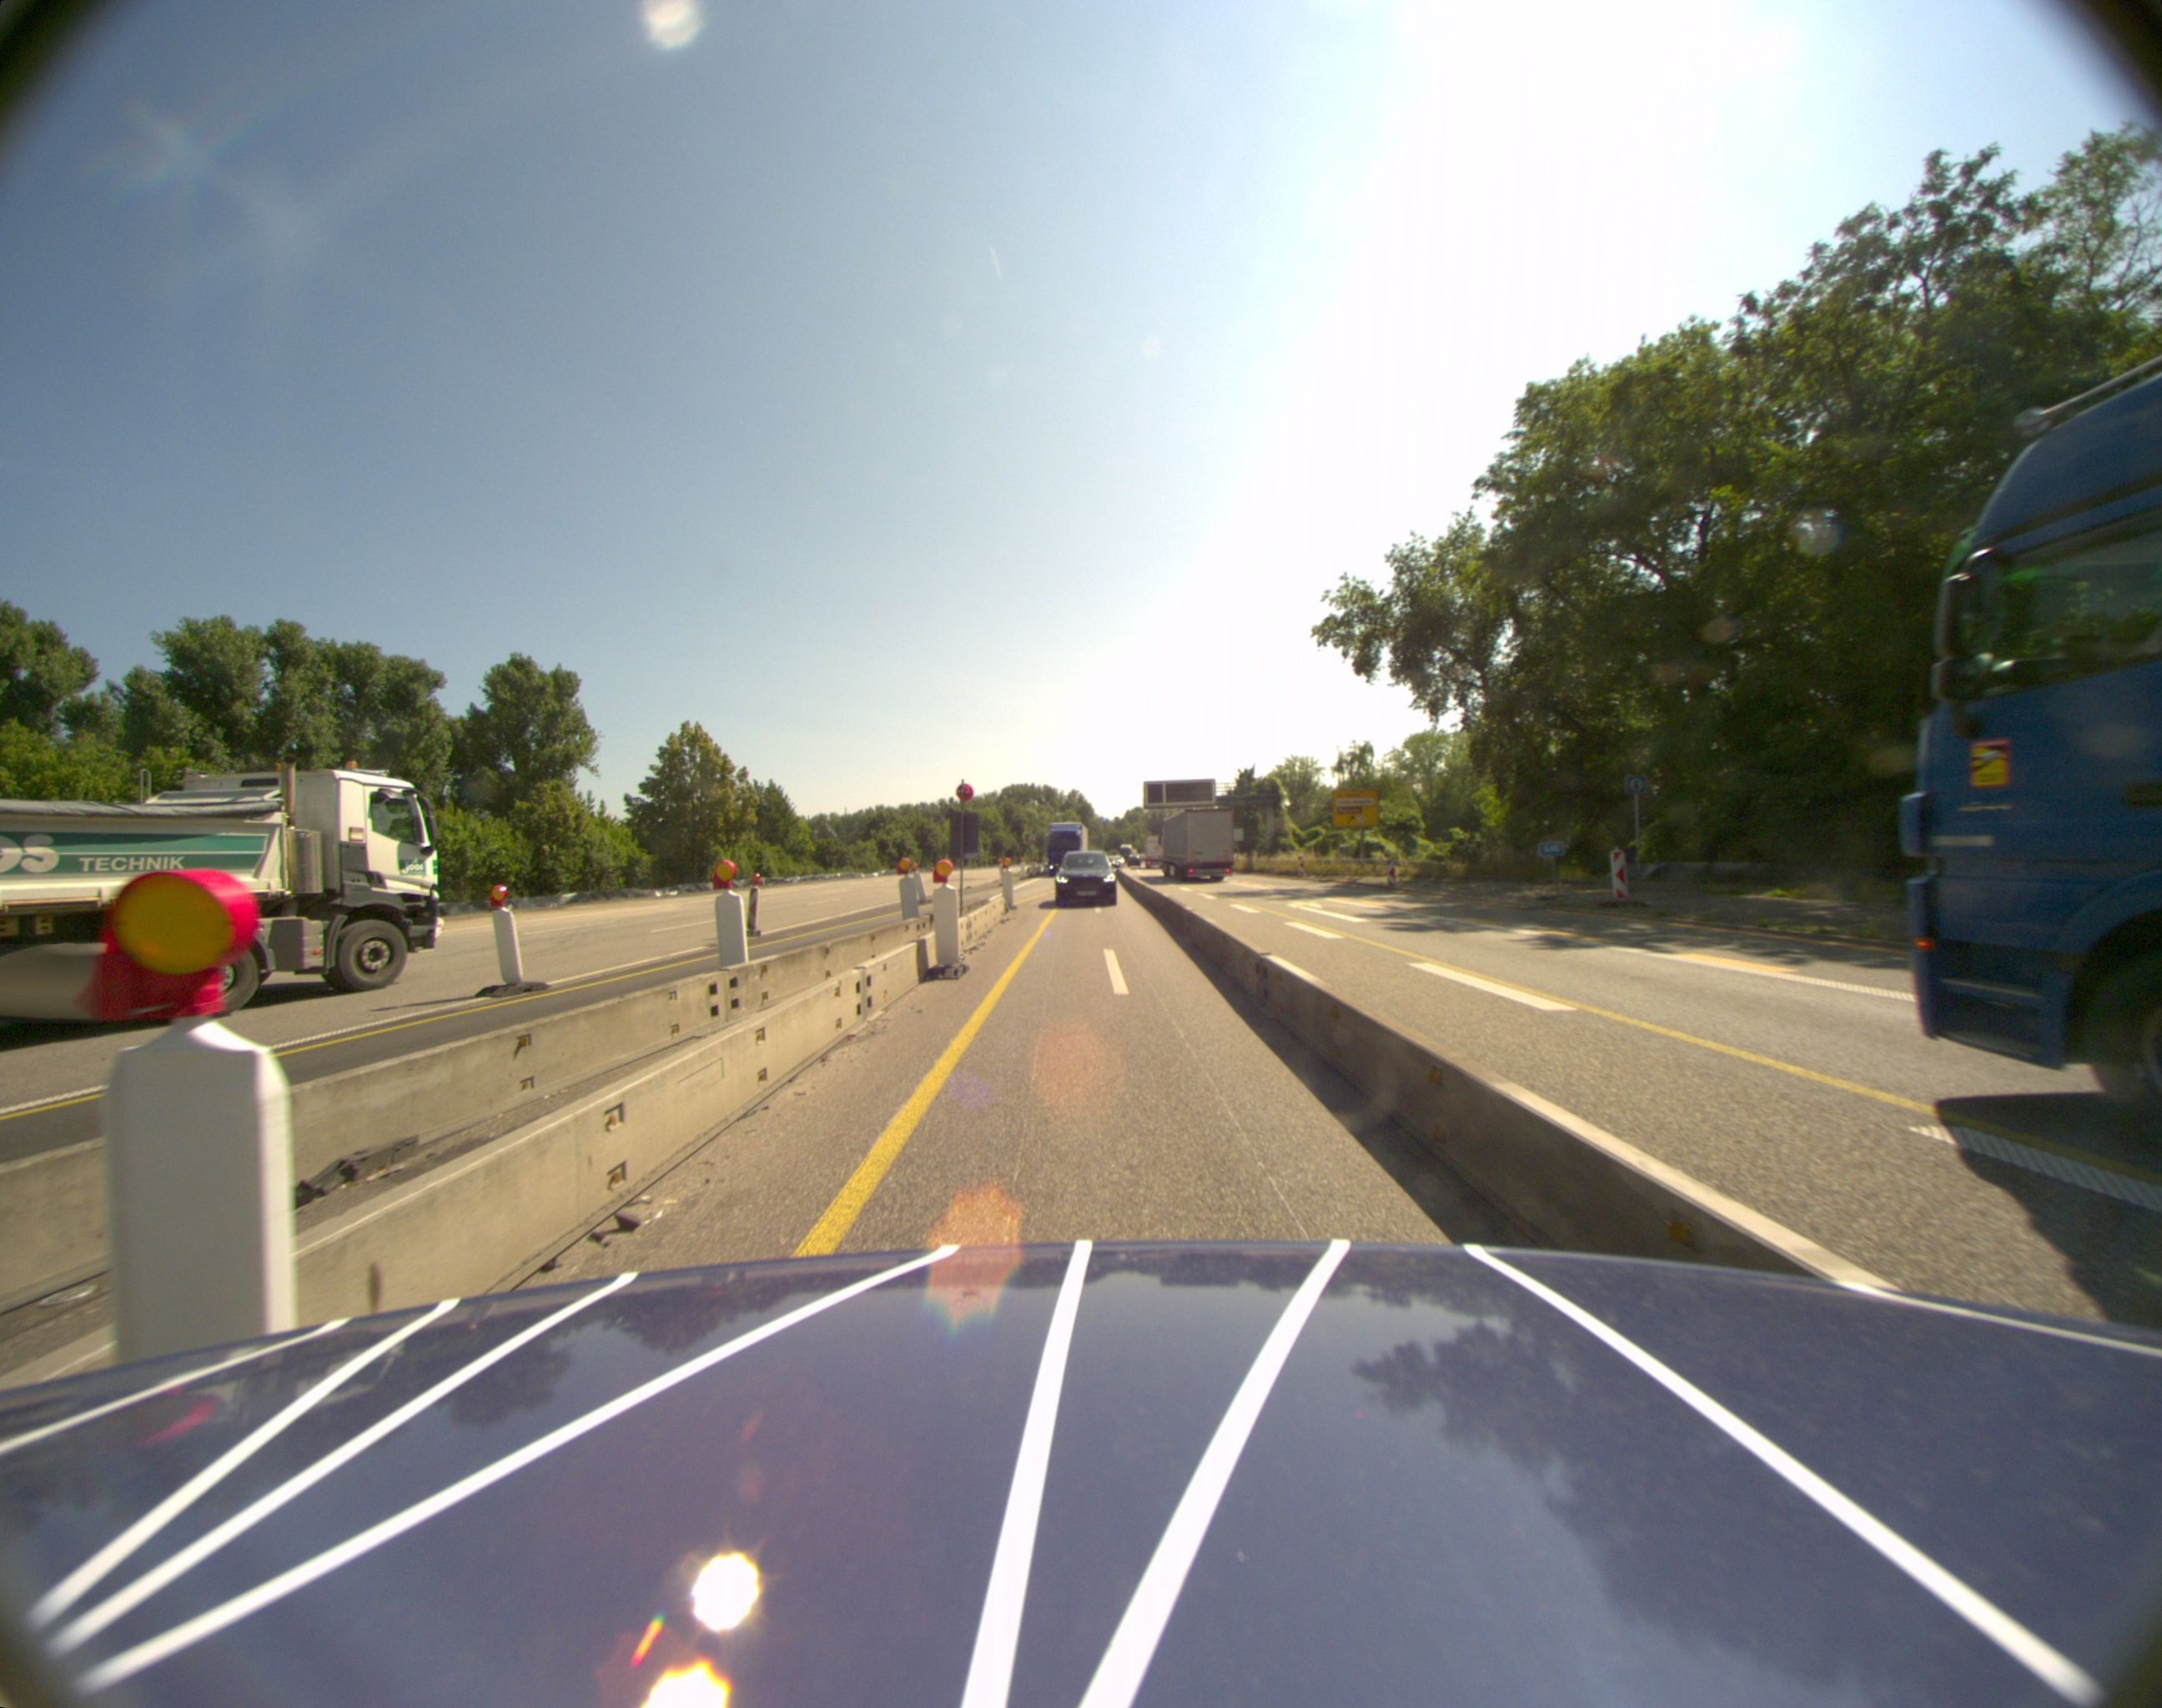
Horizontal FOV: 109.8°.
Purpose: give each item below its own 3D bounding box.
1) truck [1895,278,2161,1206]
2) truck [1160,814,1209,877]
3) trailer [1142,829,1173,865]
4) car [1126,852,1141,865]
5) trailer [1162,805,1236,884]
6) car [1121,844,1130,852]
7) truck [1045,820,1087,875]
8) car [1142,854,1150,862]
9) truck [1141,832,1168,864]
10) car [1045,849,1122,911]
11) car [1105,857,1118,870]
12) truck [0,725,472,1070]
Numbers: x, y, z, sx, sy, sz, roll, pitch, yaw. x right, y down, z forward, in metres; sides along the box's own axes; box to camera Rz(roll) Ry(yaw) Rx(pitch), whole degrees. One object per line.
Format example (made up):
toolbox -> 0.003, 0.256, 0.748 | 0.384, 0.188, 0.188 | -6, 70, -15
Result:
truck -> 6.018, -0.496, 1.305 | 2.822, 3.967, 5.985 | -1, 0, 1
truck -> 7.197, -0.585, 53.518 | 2.626, 4.103, 6.506 | -1, 1, 1
trailer -> 9.341, -0.837, 93.972 | 3.052, 4.081, 12.342 | -1, 0, 3
car -> 7.007, 0.611, 102.333 | 1.747, 1.621, 4.372 | -1, 0, 1
trailer -> 6.969, -0.558, 46.935 | 2.626, 4.103, 14.067 | -1, 0, 1
car -> 9.772, -1.320, 167.027 | 1.747, 1.621, 4.093 | -1, 1, 3
truck -> -1.074, -0.522, 60.194 | 2.860, 3.962, 8.665 | -1, 1, 2
car -> 16.842, 1.069, 196.355 | 1.998, 2.002, 4.001 | -1, 1, 6
truck -> 9.686, -0.782, 101.063 | 3.052, 4.081, 7.644 | -1, 1, 3
car -> 0.179, 0.753, 24.435 | 1.788, 1.651, 4.489 | -4, 0, 8
car -> 4.237, 1.309, 105.630 | 1.747, 1.621, 4.092 | -1, 1, 1
truck -> -11.961, 0.446, 8.624 | 2.605, 3.413, 8.736 | -1, 1, 3
